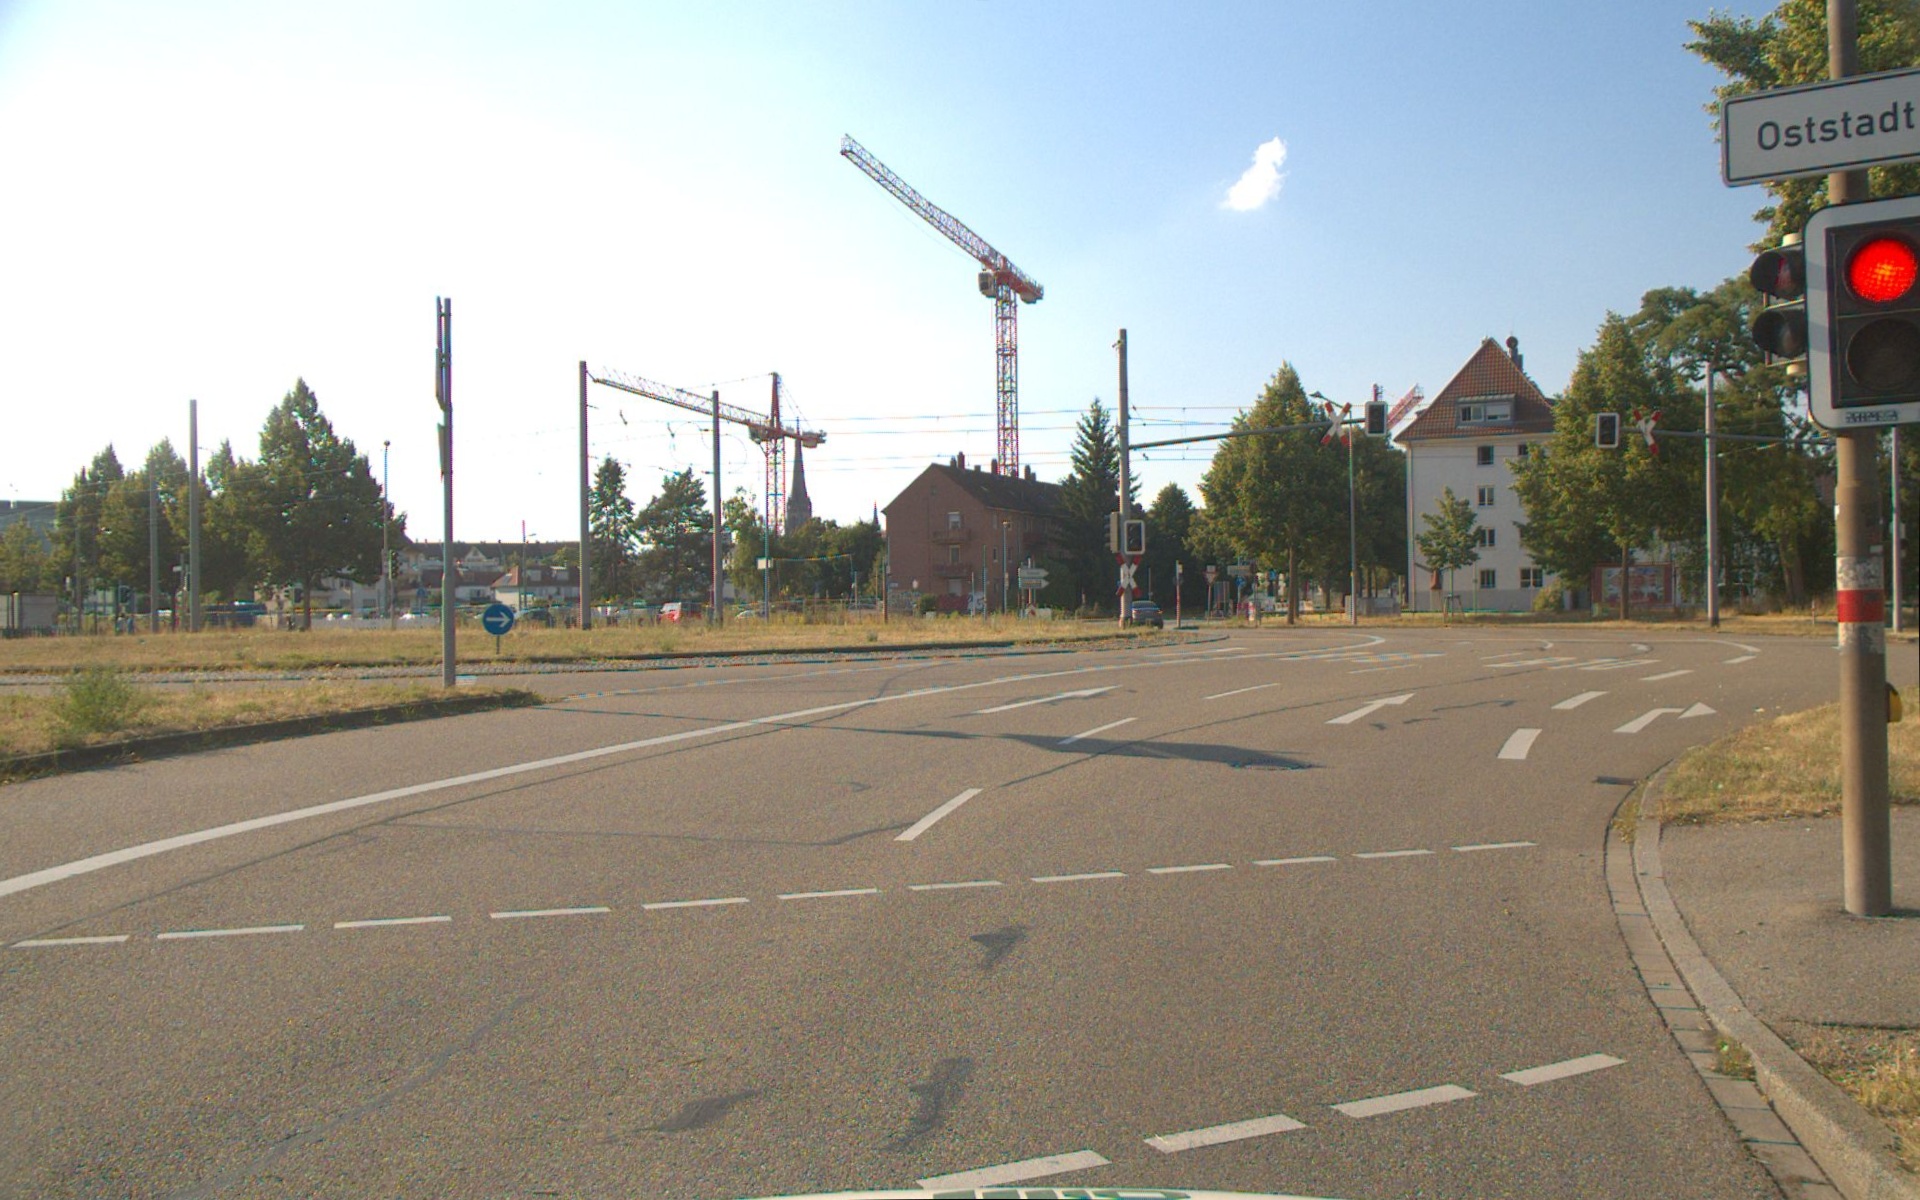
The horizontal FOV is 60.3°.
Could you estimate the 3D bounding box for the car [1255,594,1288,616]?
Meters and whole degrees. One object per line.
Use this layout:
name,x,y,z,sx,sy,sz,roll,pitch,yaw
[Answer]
car,26.896,0.462,142.849,1.953,1.811,3.999,-1,0,24

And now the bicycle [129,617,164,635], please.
bicycle,-41.883,1.332,85.186,1.595,0.875,0.540,-1,0,-27

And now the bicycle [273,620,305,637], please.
bicycle,-37.446,1.575,92.266,1.595,0.875,0.540,-1,0,-27

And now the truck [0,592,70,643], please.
truck,-63.569,1.200,112.659,7.050,3.287,3.117,-1,0,44

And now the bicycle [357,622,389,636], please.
bicycle,-33.430,1.628,94.139,1.694,0.757,0.477,-1,0,-25

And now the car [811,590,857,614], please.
car,-11.382,0.195,149.544,3.728,2.049,1.673,-1,-1,18

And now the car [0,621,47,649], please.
car,-46.758,1.733,81.801,2.647,1.283,1.099,-1,0,-38

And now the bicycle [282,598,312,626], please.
bicycle,-36.706,0.678,91.603,1.520,1.499,0.475,-1,0,-26

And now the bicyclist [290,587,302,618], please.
bicyclist,-36.779,0.127,91.570,0.599,1.701,0.474,-1,-1,-26

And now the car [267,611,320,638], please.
car,-52.265,1.929,129.768,3.917,2.049,1.994,-1,0,34

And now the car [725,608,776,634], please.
car,-16.731,1.669,132.131,3.728,2.049,1.673,-1,-1,18

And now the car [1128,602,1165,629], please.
car,9.583,0.791,85.264,1.426,1.323,3.548,-1,0,-1

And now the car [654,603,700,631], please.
car,-19.829,1.188,115.784,1.899,1.886,3.959,-1,0,-30

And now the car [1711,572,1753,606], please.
car,38.630,-0.527,82.716,1.737,1.646,3.963,-1,-1,27

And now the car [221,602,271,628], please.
car,-58.428,1.207,135.310,3.917,2.049,1.994,-1,0,34

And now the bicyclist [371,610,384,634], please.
bicyclist,-33.206,1.252,94.258,0.643,1.349,0.515,-1,0,-24
